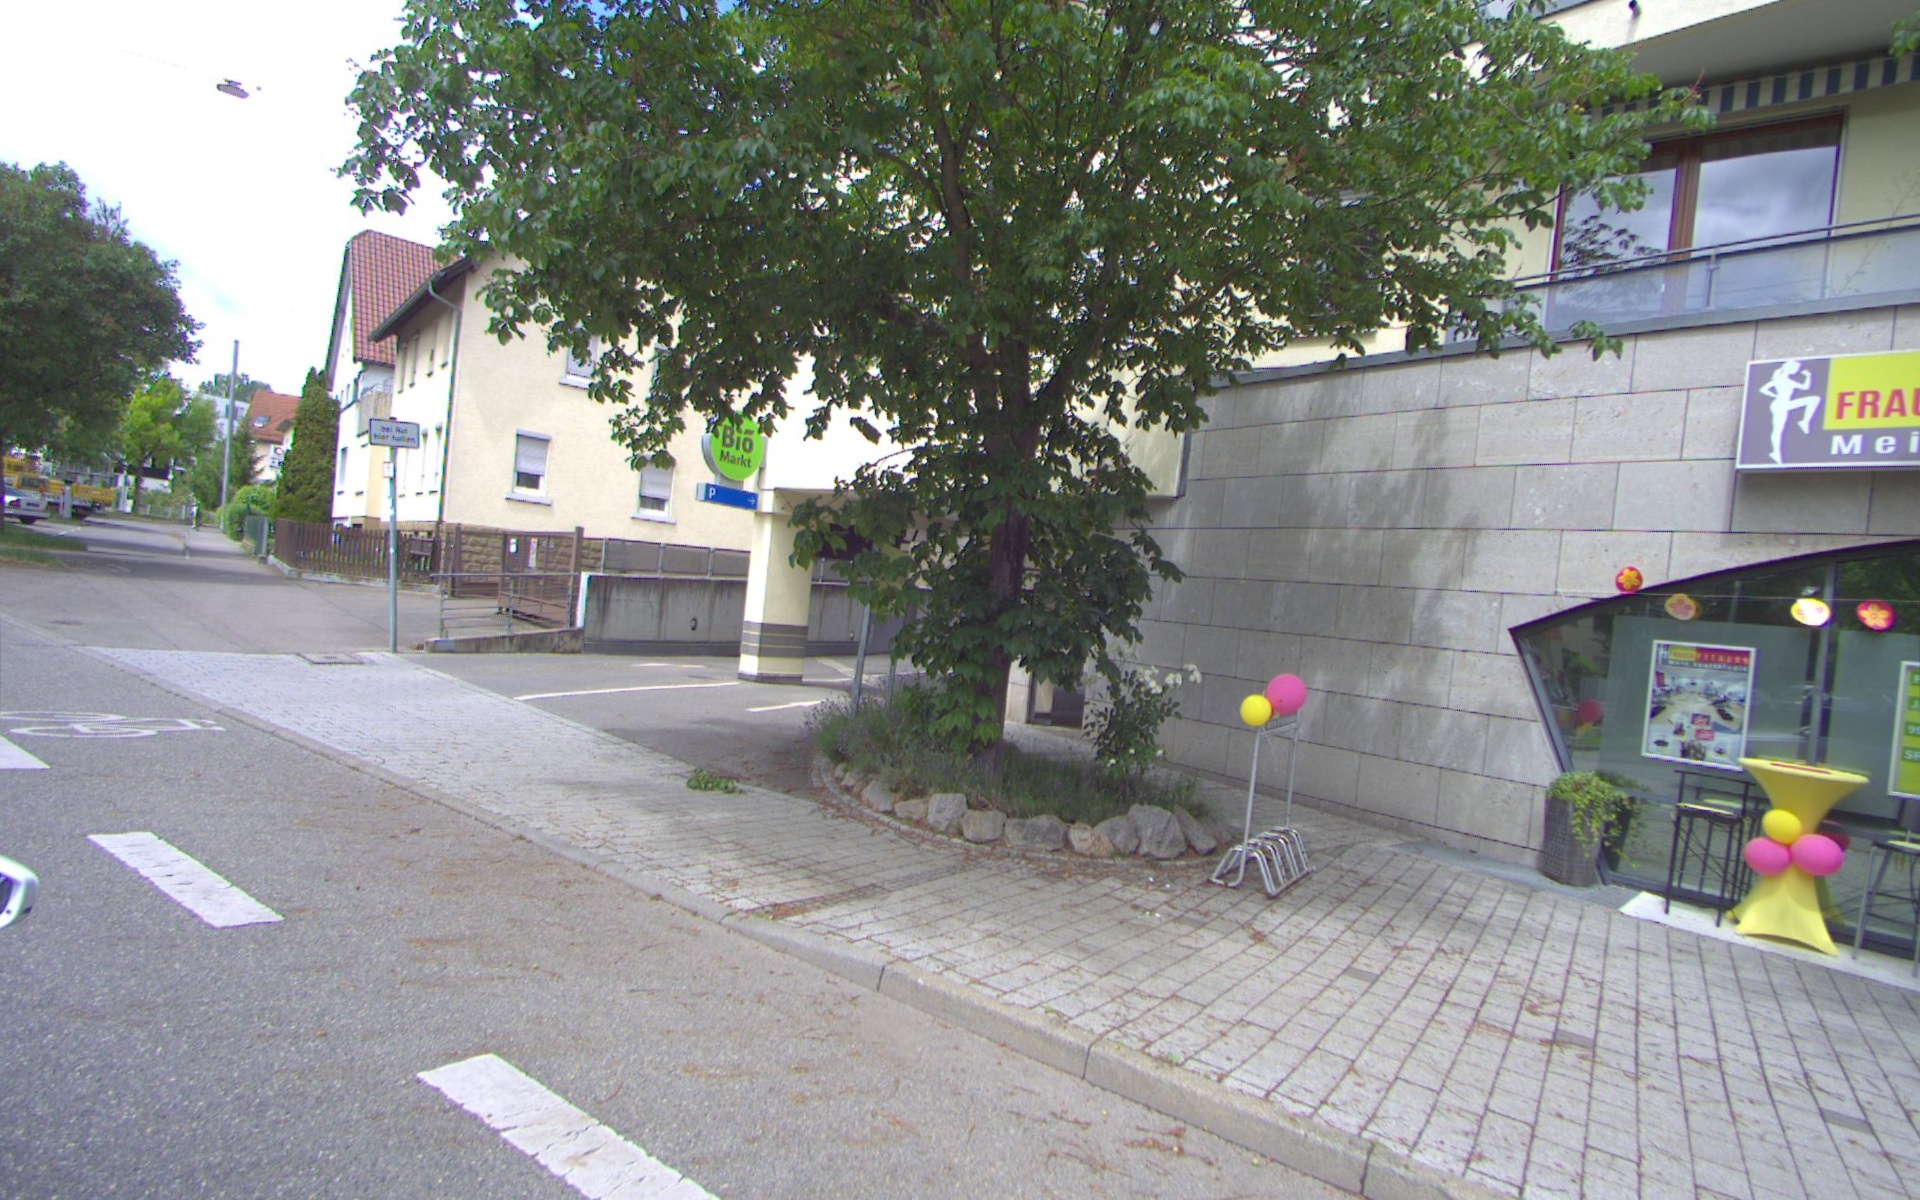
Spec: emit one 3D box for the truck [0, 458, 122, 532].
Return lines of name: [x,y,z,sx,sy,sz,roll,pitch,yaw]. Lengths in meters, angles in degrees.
truck: [-49.612,-5.752,53.963,6.585,3.042,2.771,8,-2,-2]

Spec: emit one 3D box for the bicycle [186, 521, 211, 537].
bicycle: [-47.096,-4.375,62.199,1.725,0.821,0.595,6,-2,31]

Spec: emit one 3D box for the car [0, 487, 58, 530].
car: [-39.224,-3.901,40.222,4.603,1.469,1.768,7,0,0]

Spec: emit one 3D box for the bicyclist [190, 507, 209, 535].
bicyclist: [-47.011,-4.894,62.198,0.557,1.577,0.590,6,-1,31]

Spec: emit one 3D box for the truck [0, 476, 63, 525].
truck: [-49.354,-5.330,50.909,5.578,2.036,2.000,8,-2,-6]

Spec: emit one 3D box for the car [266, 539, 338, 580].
car: [-22.942,-1.425,35.017,1.457,1.137,3.828,9,-3,-41]
